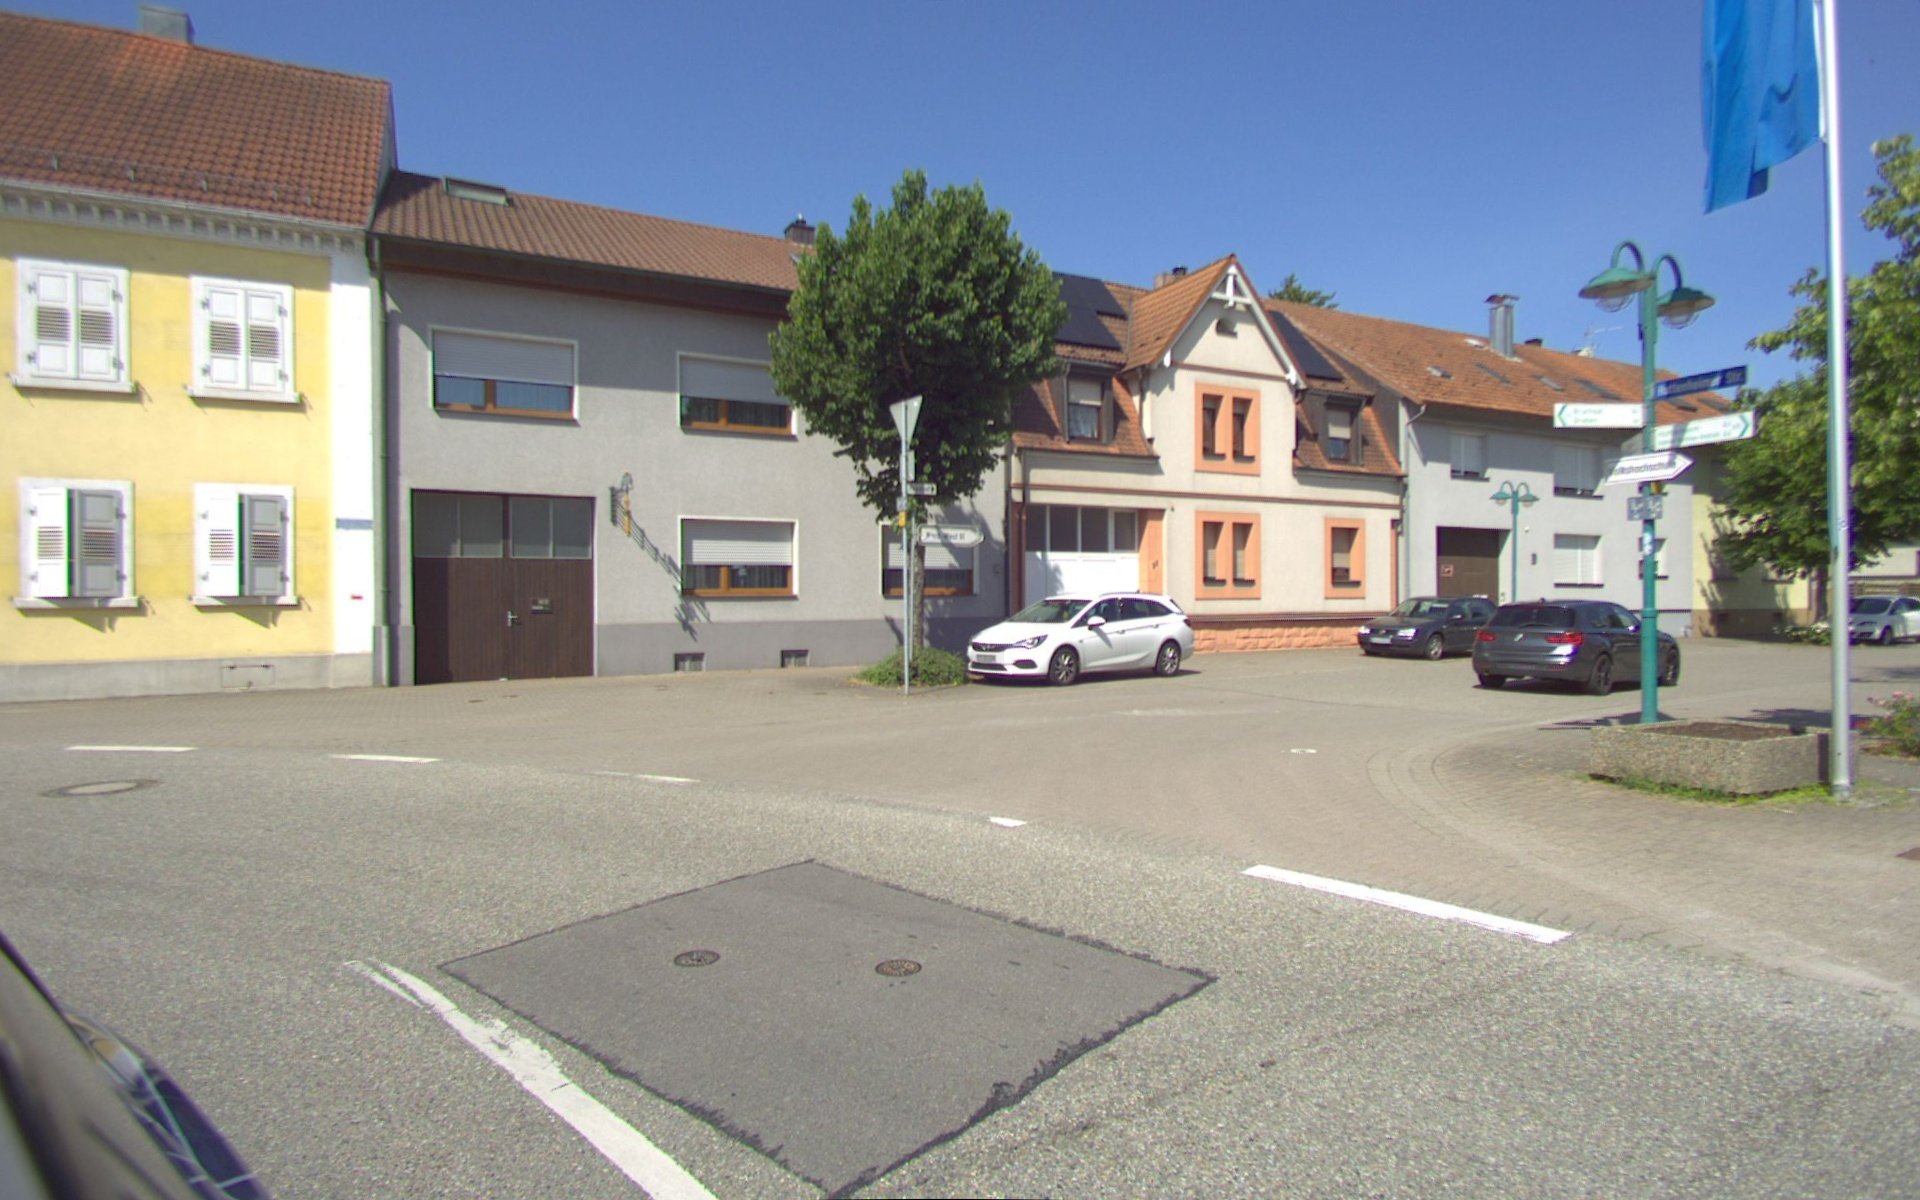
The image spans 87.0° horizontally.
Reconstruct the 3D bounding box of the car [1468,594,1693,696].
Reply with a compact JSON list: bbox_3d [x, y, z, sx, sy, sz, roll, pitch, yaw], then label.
[{"bbox_3d":[10.010,0.627,16.219,4.200,1.386,1.745,-1,1,-39],"label":"car"}]

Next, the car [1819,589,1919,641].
[{"bbox_3d":[29.906,0.455,32.730,3.932,1.586,2.006,-1,0,-30],"label":"car"}]

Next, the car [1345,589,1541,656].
[{"bbox_3d":[11.652,0.481,24.275,5.125,1.451,1.996,-1,0,-36],"label":"car"}]

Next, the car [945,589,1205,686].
[{"bbox_3d":[2.046,0.556,17.192,4.442,1.451,1.858,0,-1,-41],"label":"car"}]
